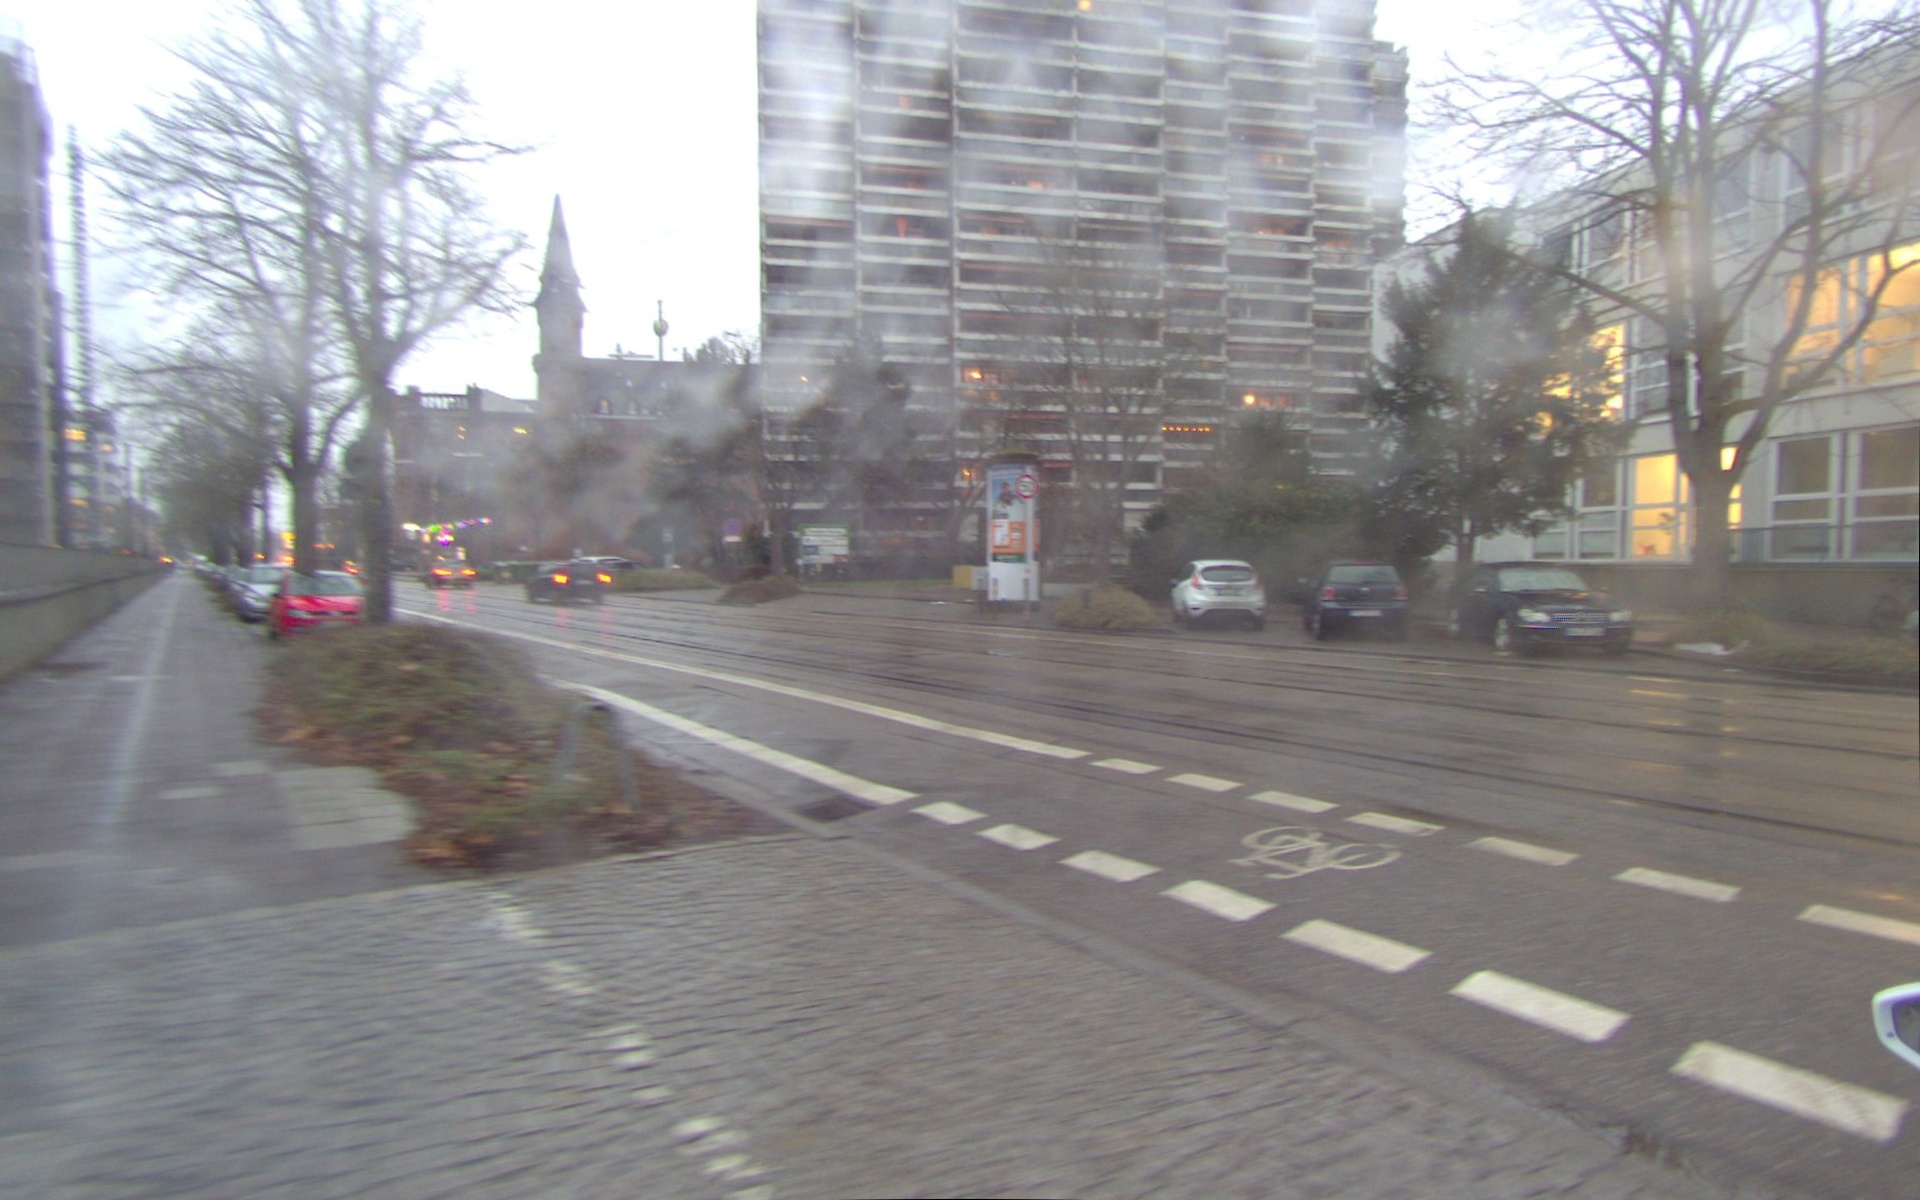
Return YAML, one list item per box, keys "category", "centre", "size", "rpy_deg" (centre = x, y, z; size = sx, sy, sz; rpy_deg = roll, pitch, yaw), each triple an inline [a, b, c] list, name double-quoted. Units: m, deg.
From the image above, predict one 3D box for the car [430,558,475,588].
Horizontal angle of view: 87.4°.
- category: "car"
  centre: [-28.390, -1.485, 56.140]
  size: [1.695, 1.600, 4.337]
  rpy_deg: [-1, 2, -34]

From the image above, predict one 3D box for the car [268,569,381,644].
- category: "car"
  centre: [-13.122, 0.075, 20.657]
  size: [1.737, 1.406, 3.698]
  rpy_deg: [-1, 2, -36]

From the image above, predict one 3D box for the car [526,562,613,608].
- category: "car"
  centre: [-14.368, -0.568, 36.852]
  size: [1.738, 1.565, 4.246]
  rpy_deg: [-1, 2, -39]

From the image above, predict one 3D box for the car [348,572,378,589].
- category: "car"
  centre: [-50.664, -1.663, 85.188]
  size: [1.751, 1.430, 3.957]
  rpy_deg: [-1, 2, -37]

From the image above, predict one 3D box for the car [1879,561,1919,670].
- category: "car"
  centre: [13.630, 0.236, 12.086]
  size: [1.756, 1.466, 4.001]
  rpy_deg: [0, 1, 6]

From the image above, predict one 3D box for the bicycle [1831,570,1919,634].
- category: "bicycle"
  centre: [17.270, 0.017, 18.597]
  size: [2.169, 1.136, 0.640]
  rpy_deg: [-1, 2, -16]

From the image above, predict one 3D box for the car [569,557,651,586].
- category: "car"
  centre: [-19.114, -1.565, 54.947]
  size: [3.956, 1.506, 1.657]
  rpy_deg: [-1, 2, -32]

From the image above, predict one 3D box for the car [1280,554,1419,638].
- category: "car"
  centre: [7.567, -0.126, 19.877]
  size: [1.818, 1.482, 4.002]
  rpy_deg: [0, 1, 10]

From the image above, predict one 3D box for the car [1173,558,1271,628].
- category: "car"
  centre: [5.781, -0.191, 22.555]
  size: [1.818, 1.418, 4.002]
  rpy_deg: [0, 1, 10]

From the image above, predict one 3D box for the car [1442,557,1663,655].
- category: "car"
  centre: [9.477, 0.037, 16.468]
  size: [1.818, 1.397, 4.002]
  rpy_deg: [0, 1, 10]

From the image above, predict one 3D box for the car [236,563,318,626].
- category: "car"
  centre: [-18.704, -0.193, 27.458]
  size: [1.737, 1.605, 3.698]
  rpy_deg: [-1, 2, -36]

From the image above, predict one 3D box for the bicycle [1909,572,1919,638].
- category: "bicycle"
  centre: [17.611, 0.073, 17.412]
  size: [2.169, 1.136, 0.640]
  rpy_deg: [-1, 2, -16]

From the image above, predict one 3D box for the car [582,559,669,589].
- category: "car"
  centre: [-17.149, -1.331, 51.517]
  size: [3.956, 1.506, 1.657]
  rpy_deg: [-1, 2, -32]
